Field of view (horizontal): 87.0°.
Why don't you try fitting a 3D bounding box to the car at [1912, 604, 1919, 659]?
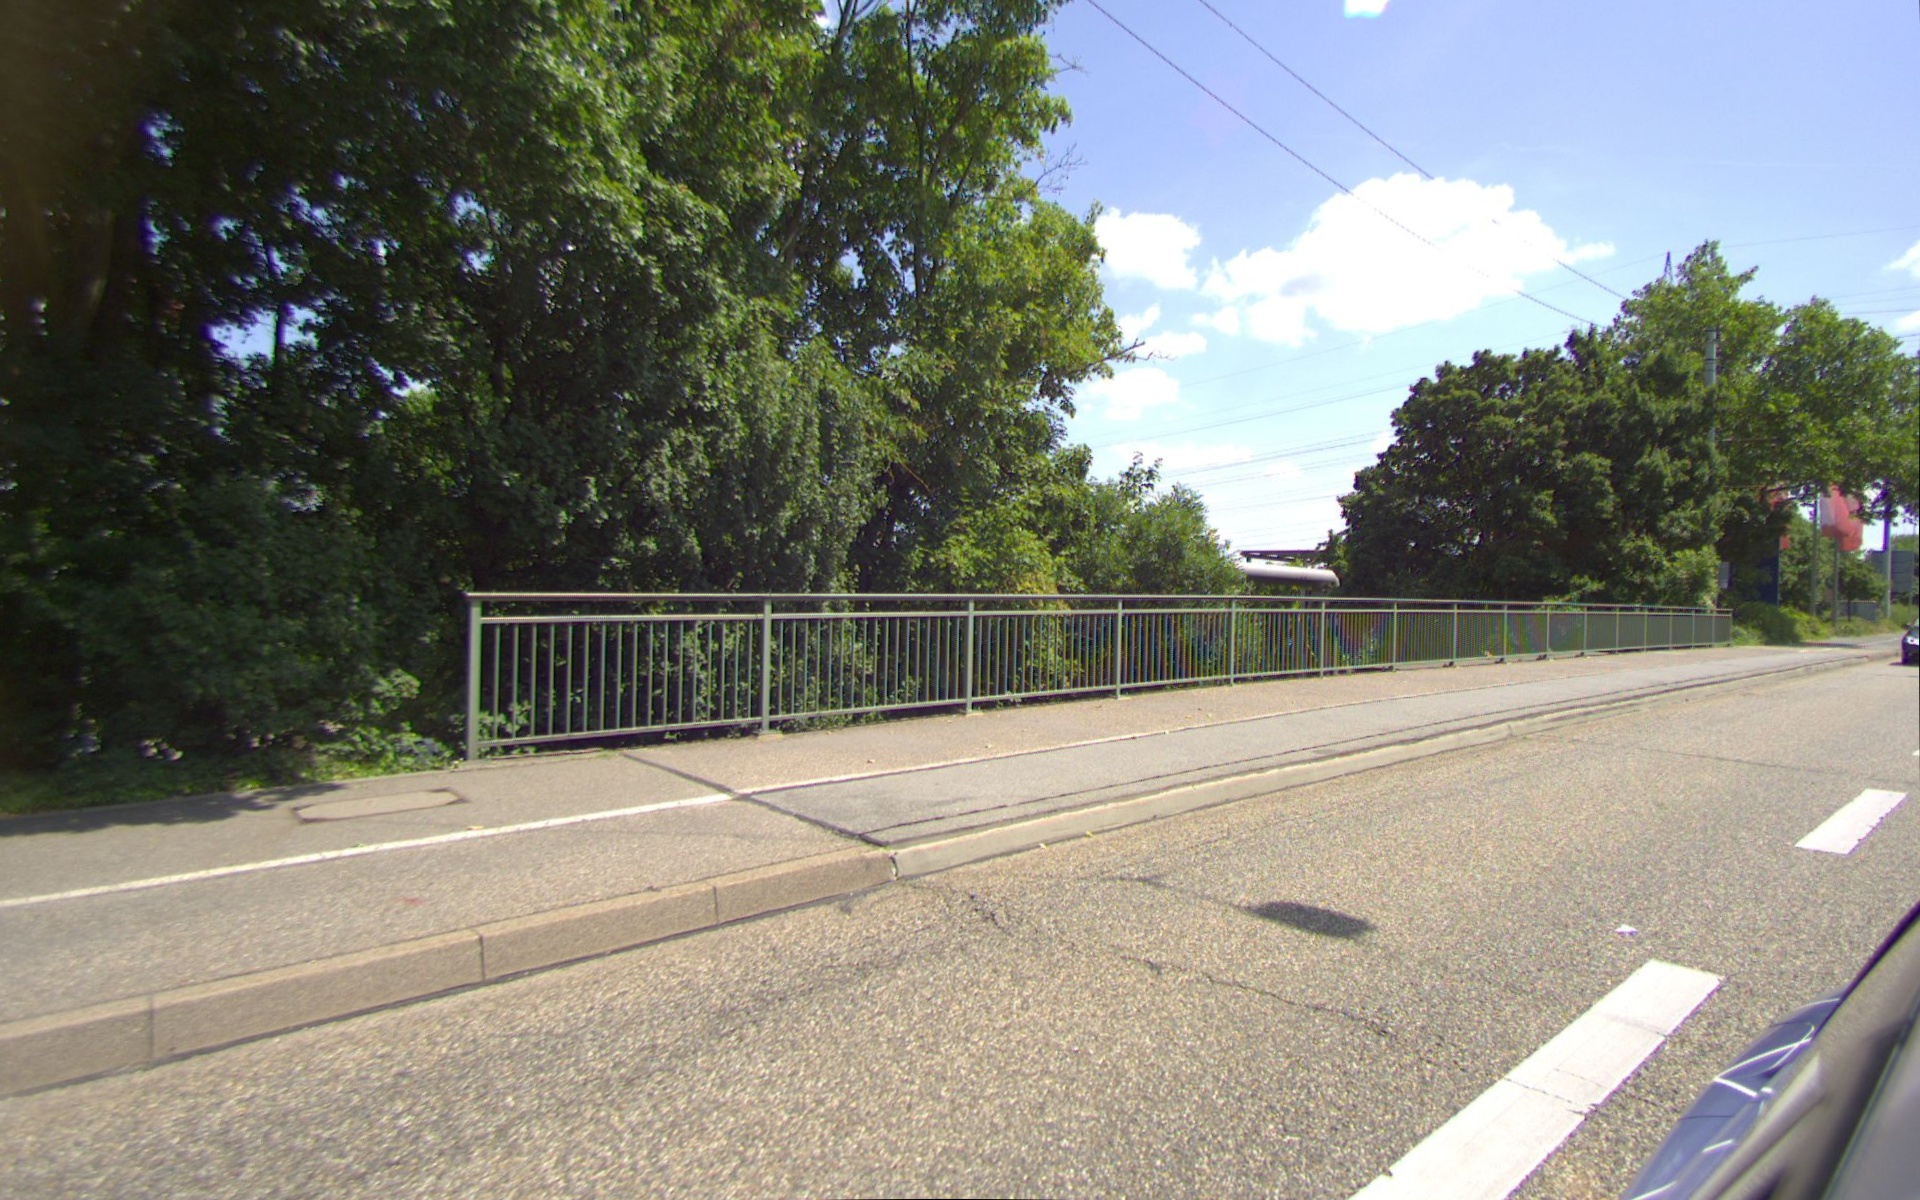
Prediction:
[{"bbox_3d":[26.919,0.858,27.116,3.931,1.449,1.769,1,0,-42],"label":"car"}]
